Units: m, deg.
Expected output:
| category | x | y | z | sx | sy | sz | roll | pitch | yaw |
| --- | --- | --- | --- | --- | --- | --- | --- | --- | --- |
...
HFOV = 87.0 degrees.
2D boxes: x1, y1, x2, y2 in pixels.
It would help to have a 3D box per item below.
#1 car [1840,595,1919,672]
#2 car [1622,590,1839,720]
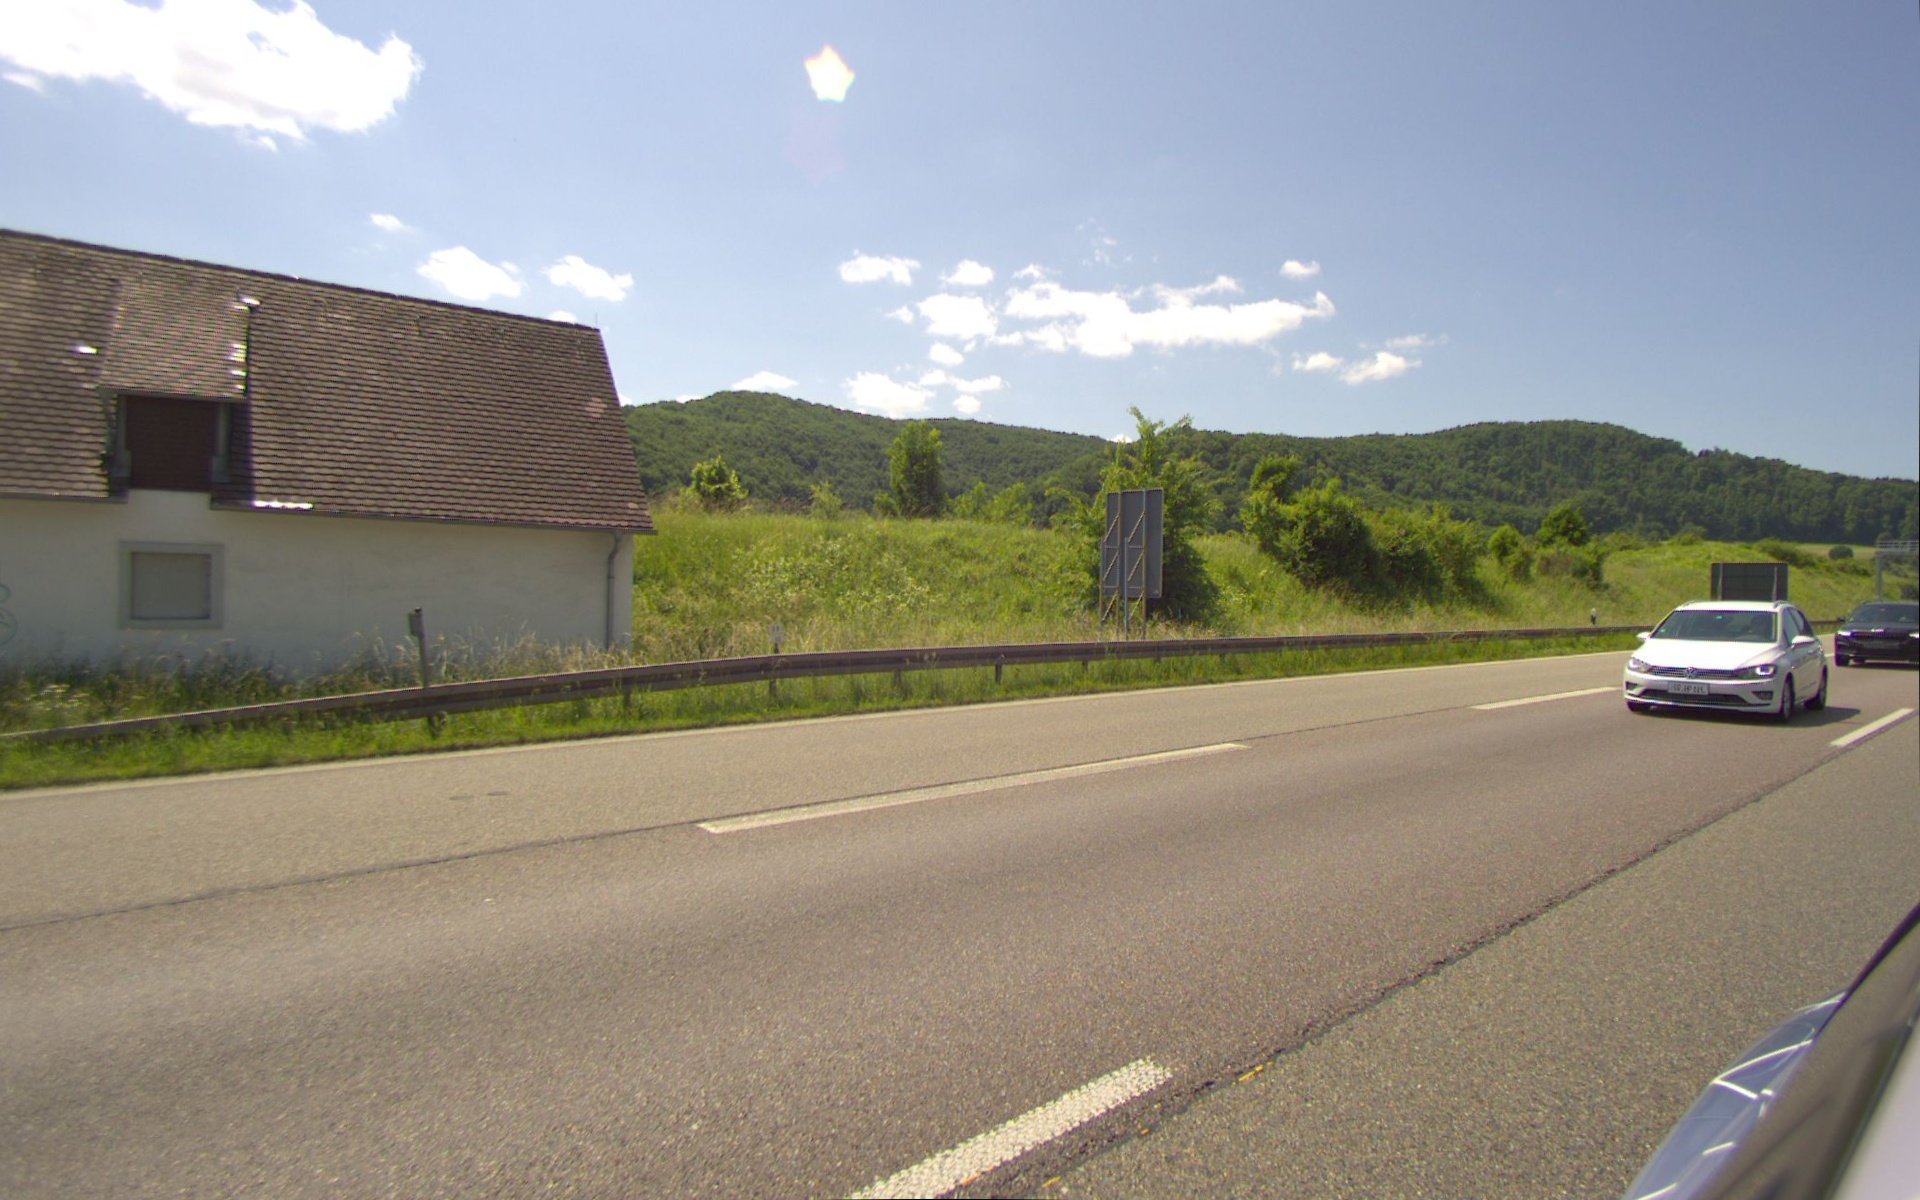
| category | x | y | z | sx | sy | sz | roll | pitch | yaw |
| --- | --- | --- | --- | --- | --- | --- | --- | --- | --- |
| car | 23.976 | 0.810 | 25.609 | 4.096 | 1.794 | 1.893 | 1 | 1 | -40 |
| car | 10.937 | 0.662 | 14.269 | 3.985 | 1.560 | 1.775 | 0 | 0 | -43 |
